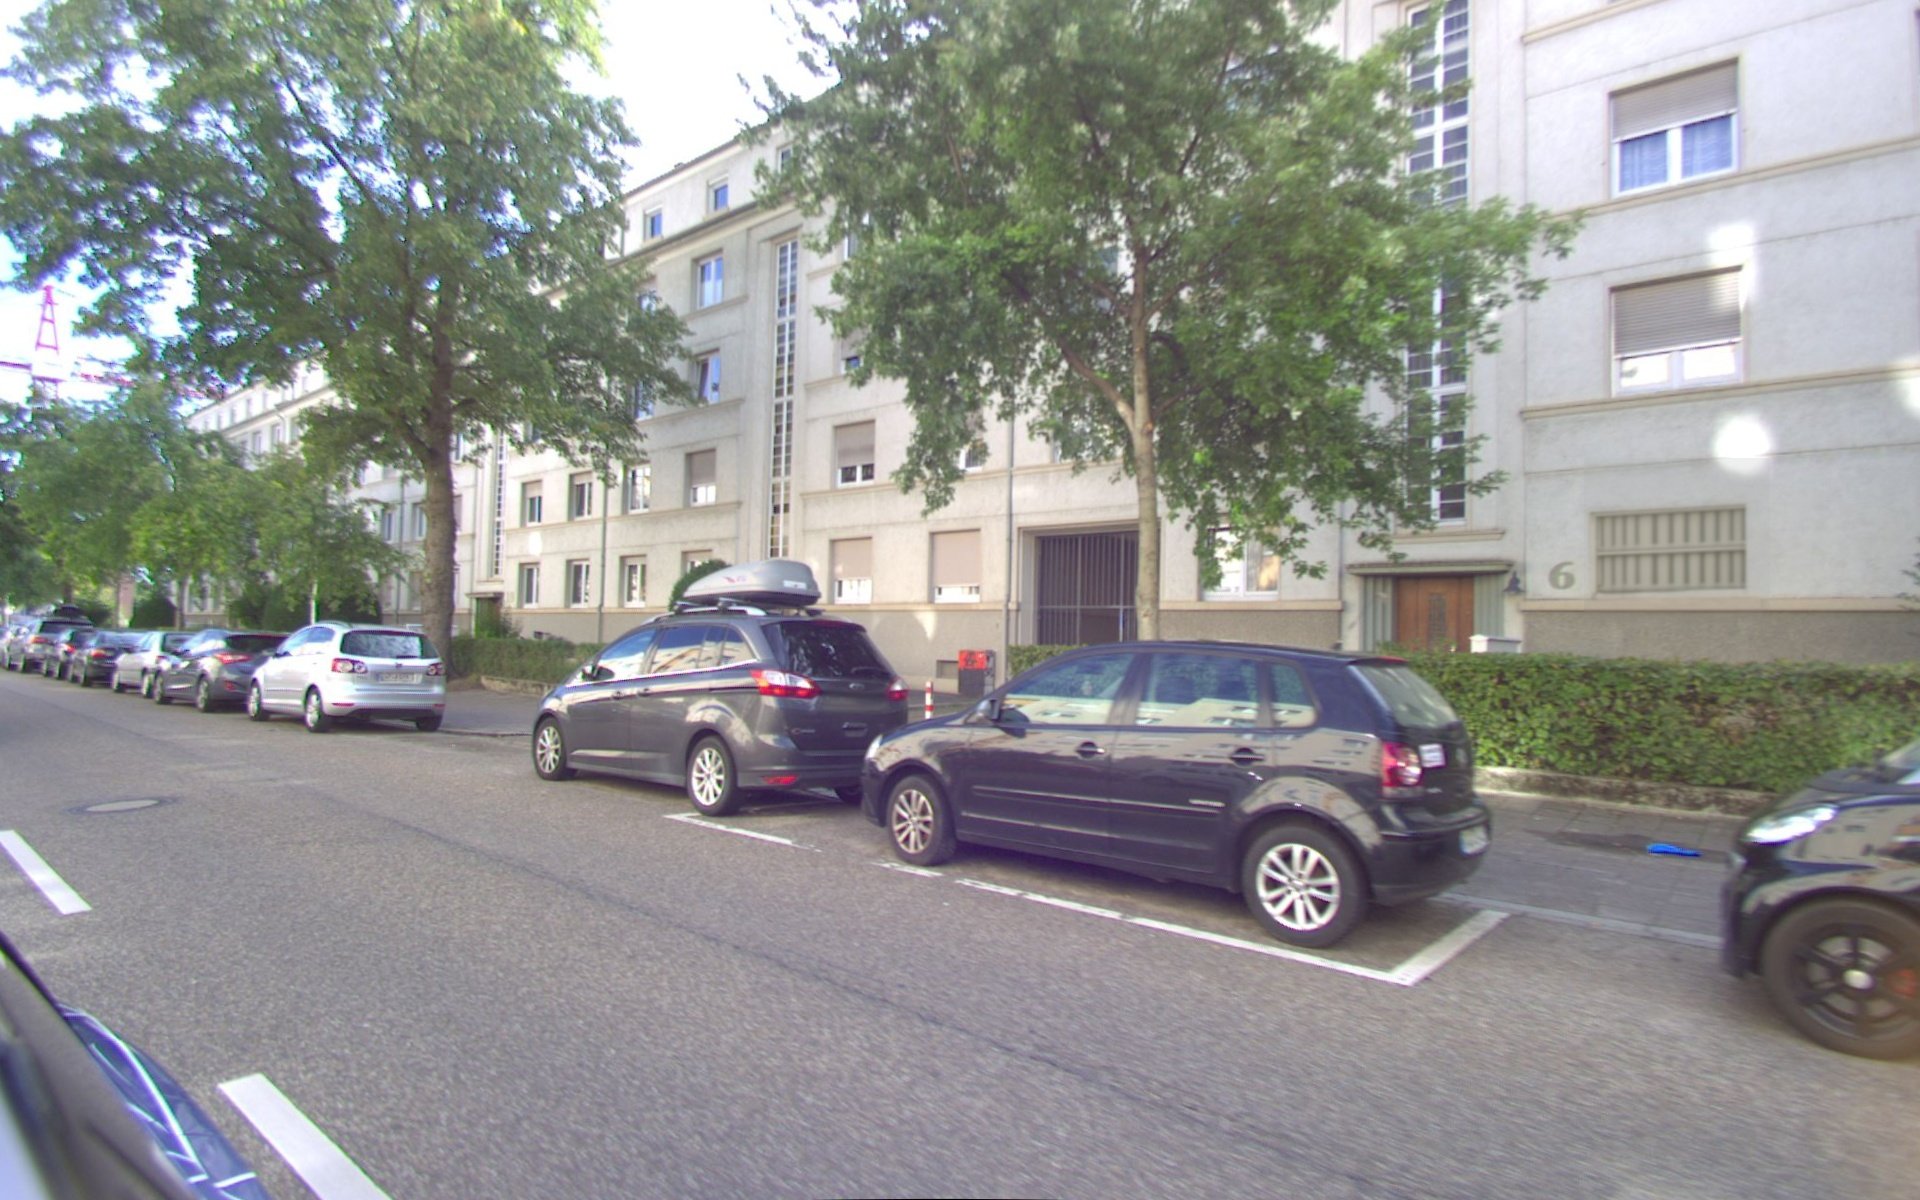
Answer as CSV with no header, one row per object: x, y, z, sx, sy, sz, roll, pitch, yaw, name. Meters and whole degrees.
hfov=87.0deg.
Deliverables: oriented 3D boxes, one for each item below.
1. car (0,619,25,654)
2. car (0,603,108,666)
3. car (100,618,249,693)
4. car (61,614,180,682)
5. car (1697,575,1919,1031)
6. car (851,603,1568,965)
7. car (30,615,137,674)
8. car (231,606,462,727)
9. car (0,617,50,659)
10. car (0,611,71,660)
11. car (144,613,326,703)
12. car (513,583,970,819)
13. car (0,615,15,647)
-41.590,1.511,43.239,4.662,1.404,1.720,-1,-6,40,car
-29.179,1.101,32.452,4.966,1.806,1.858,-1,-5,40,car
-17.017,1.176,21.862,3.960,1.429,1.584,-1,-6,39,car
-21.203,1.182,25.495,4.452,1.492,1.666,-1,-7,44,car
4.424,0.727,3.393,3.015,1.532,1.536,-1,-6,42,car
1.320,0.859,6.110,3.844,1.498,1.683,-1,-6,39,car
-25.135,1.244,28.988,4.117,1.492,1.667,-1,-7,42,car
-9.538,0.993,15.626,3.990,1.632,1.721,-1,-6,39,car
-37.377,1.465,39.660,4.941,1.497,1.836,-1,-6,41,car
-33.548,1.265,36.345,4.458,1.585,1.835,-1,-5,42,car
-13.419,1.054,18.662,4.009,1.479,1.598,-1,-6,39,car
-2.203,0.826,9.405,4.481,1.681,1.780,-1,-6,42,car
-46.512,1.432,47.978,4.679,1.497,1.837,-1,-4,39,car
